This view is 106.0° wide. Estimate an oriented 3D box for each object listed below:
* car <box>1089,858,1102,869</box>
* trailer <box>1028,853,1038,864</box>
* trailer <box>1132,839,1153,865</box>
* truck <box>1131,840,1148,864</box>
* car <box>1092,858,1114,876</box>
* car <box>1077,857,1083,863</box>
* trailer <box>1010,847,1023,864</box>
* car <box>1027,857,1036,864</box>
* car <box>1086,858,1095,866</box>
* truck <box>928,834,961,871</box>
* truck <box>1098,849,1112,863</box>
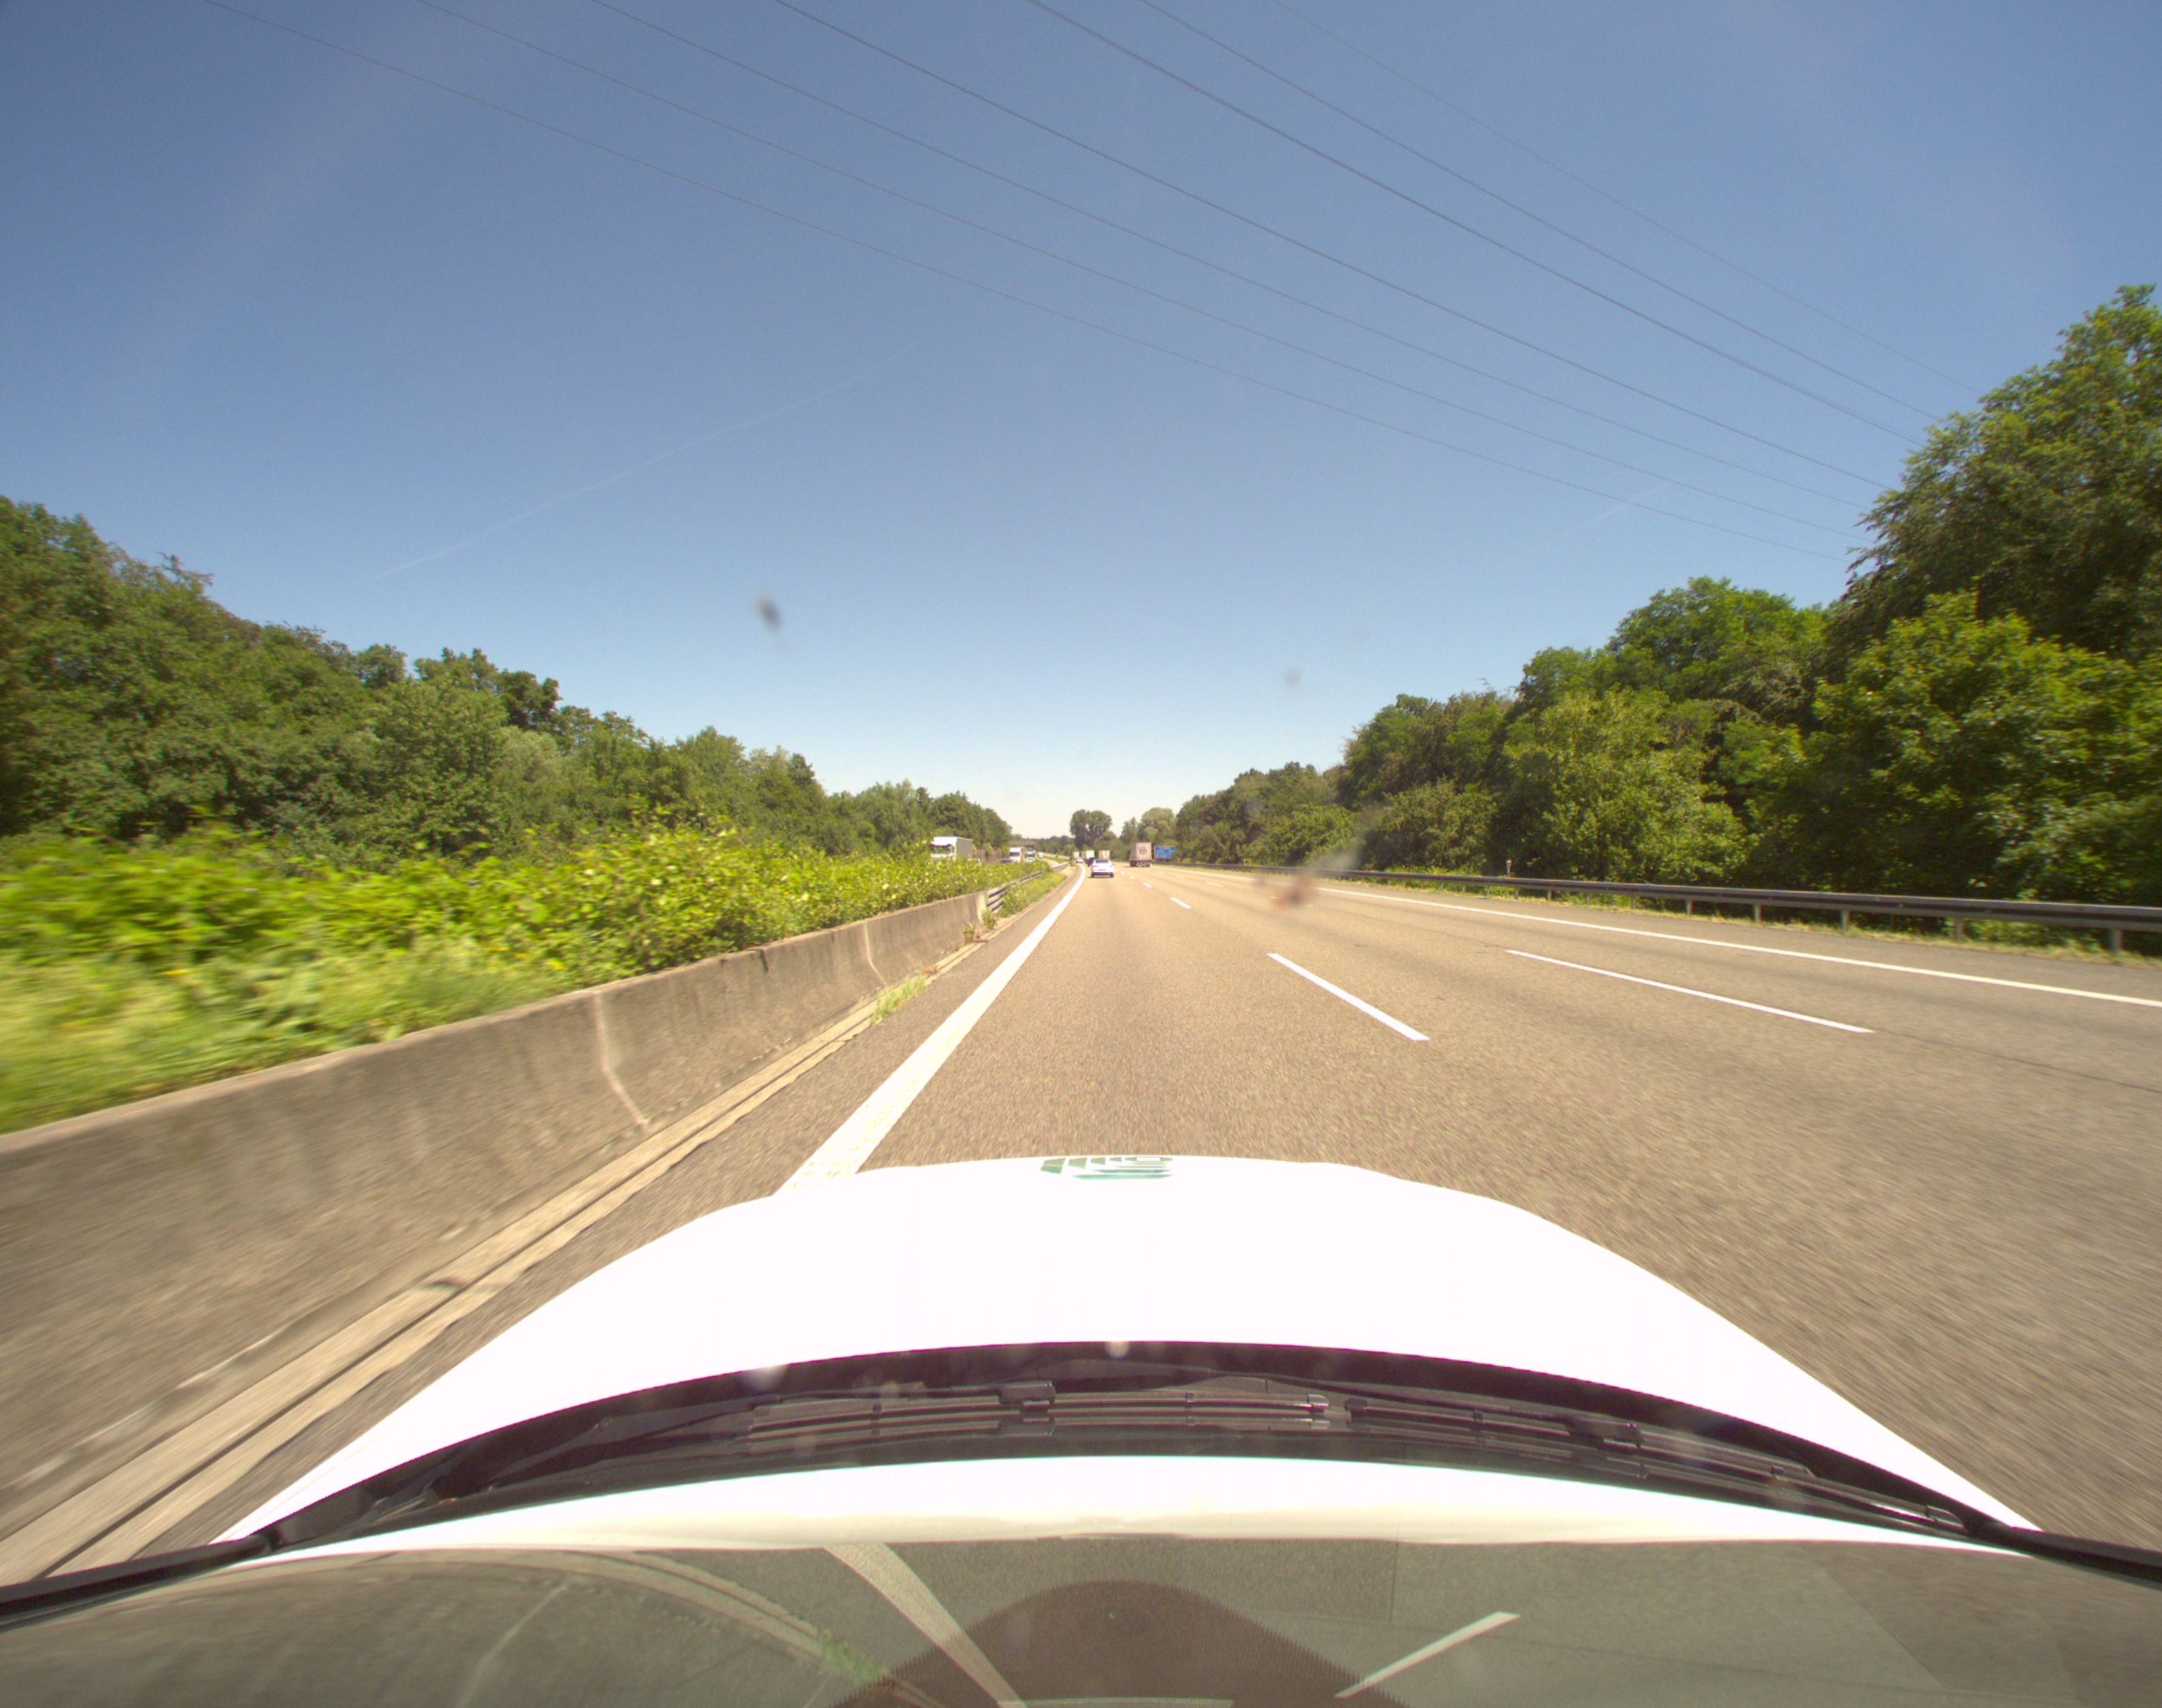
[{"bbox_3d":[2.534,1.682,145.002,1.988,1.772,3.997,0,0,-2],"label":"car"},{"bbox_3d":[-11.145,1.052,188.178,2.080,2.613,4.953,0,0,-1],"label":"trailer"},{"bbox_3d":[10.354,-0.325,137.858,2.615,4.261,14.059,0,0,0],"label":"trailer"},{"bbox_3d":[10.405,-0.351,145.020,2.597,4.287,5.435,0,0,0],"label":"truck"},{"bbox_3d":[1.747,1.020,64.643,1.709,1.369,3.376,0,0,2],"label":"car"},{"bbox_3d":[-0.338,1.740,253.012,1.721,1.783,3.992,0,0,-5],"label":"car"},{"bbox_3d":[-15.279,0.341,193.746,2.682,4.042,6.031,0,0,-2],"label":"trailer"},{"bbox_3d":[-11.181,1.511,183.647,1.830,1.632,4.017,0,0,-1],"label":"car"},{"bbox_3d":[2.368,2.046,206.701,1.989,2.013,3.996,0,0,-3],"label":"car"},{"bbox_3d":[-15.225,-0.162,91.459,2.652,3.985,6.552,0,0,-1],"label":"truck"},{"bbox_3d":[7.762,0.560,261.749,3.485,4.311,10.974,0,0,-3],"label":"truck"}]
